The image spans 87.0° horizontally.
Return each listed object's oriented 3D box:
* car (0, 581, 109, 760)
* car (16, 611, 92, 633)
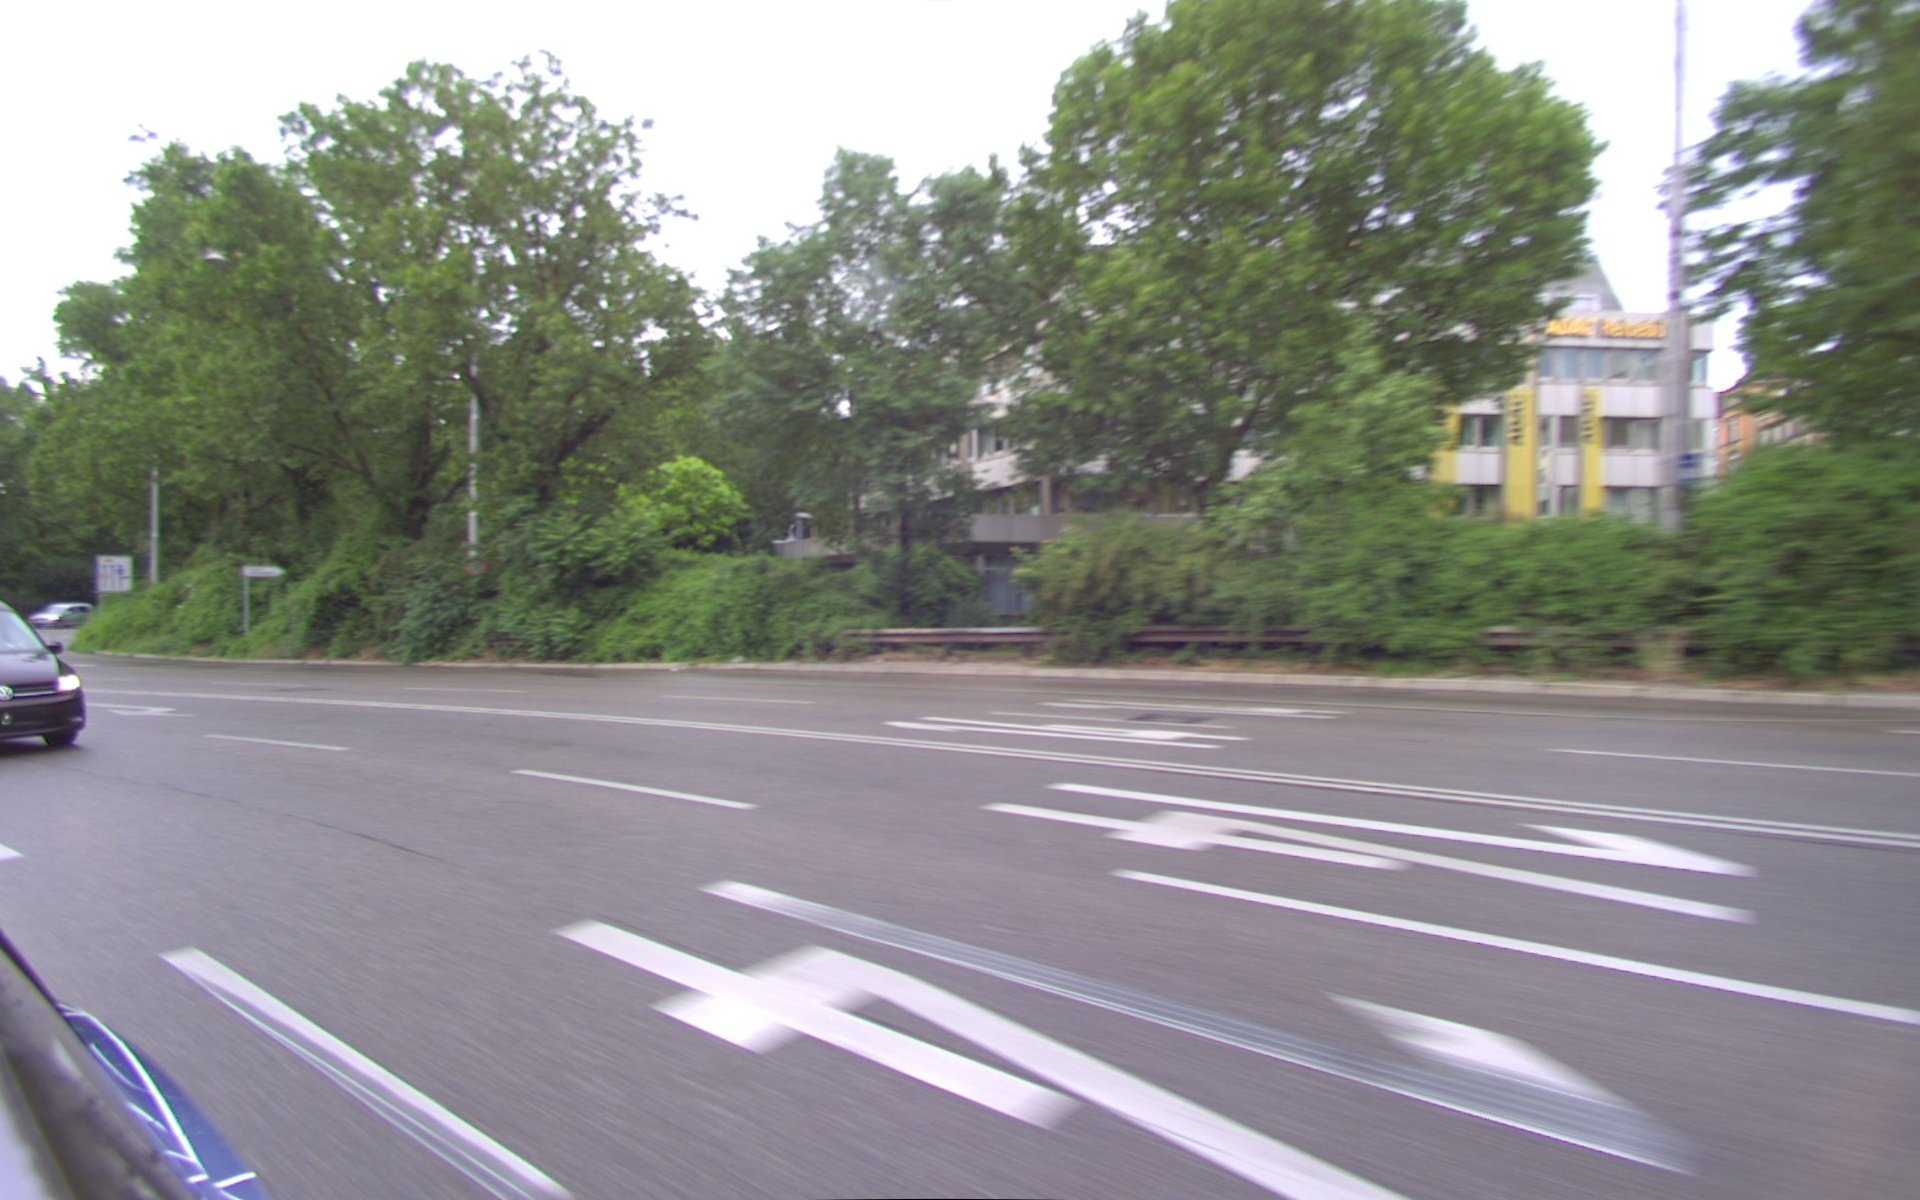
[{"bbox_3d":[-11.562,0.764,11.256,4.105,1.813,1.780,-1,0,28],"label":"car"},{"bbox_3d":[-67.552,1.644,75.576,2.178,1.554,4.514,0,0,-10],"label":"car"}]
